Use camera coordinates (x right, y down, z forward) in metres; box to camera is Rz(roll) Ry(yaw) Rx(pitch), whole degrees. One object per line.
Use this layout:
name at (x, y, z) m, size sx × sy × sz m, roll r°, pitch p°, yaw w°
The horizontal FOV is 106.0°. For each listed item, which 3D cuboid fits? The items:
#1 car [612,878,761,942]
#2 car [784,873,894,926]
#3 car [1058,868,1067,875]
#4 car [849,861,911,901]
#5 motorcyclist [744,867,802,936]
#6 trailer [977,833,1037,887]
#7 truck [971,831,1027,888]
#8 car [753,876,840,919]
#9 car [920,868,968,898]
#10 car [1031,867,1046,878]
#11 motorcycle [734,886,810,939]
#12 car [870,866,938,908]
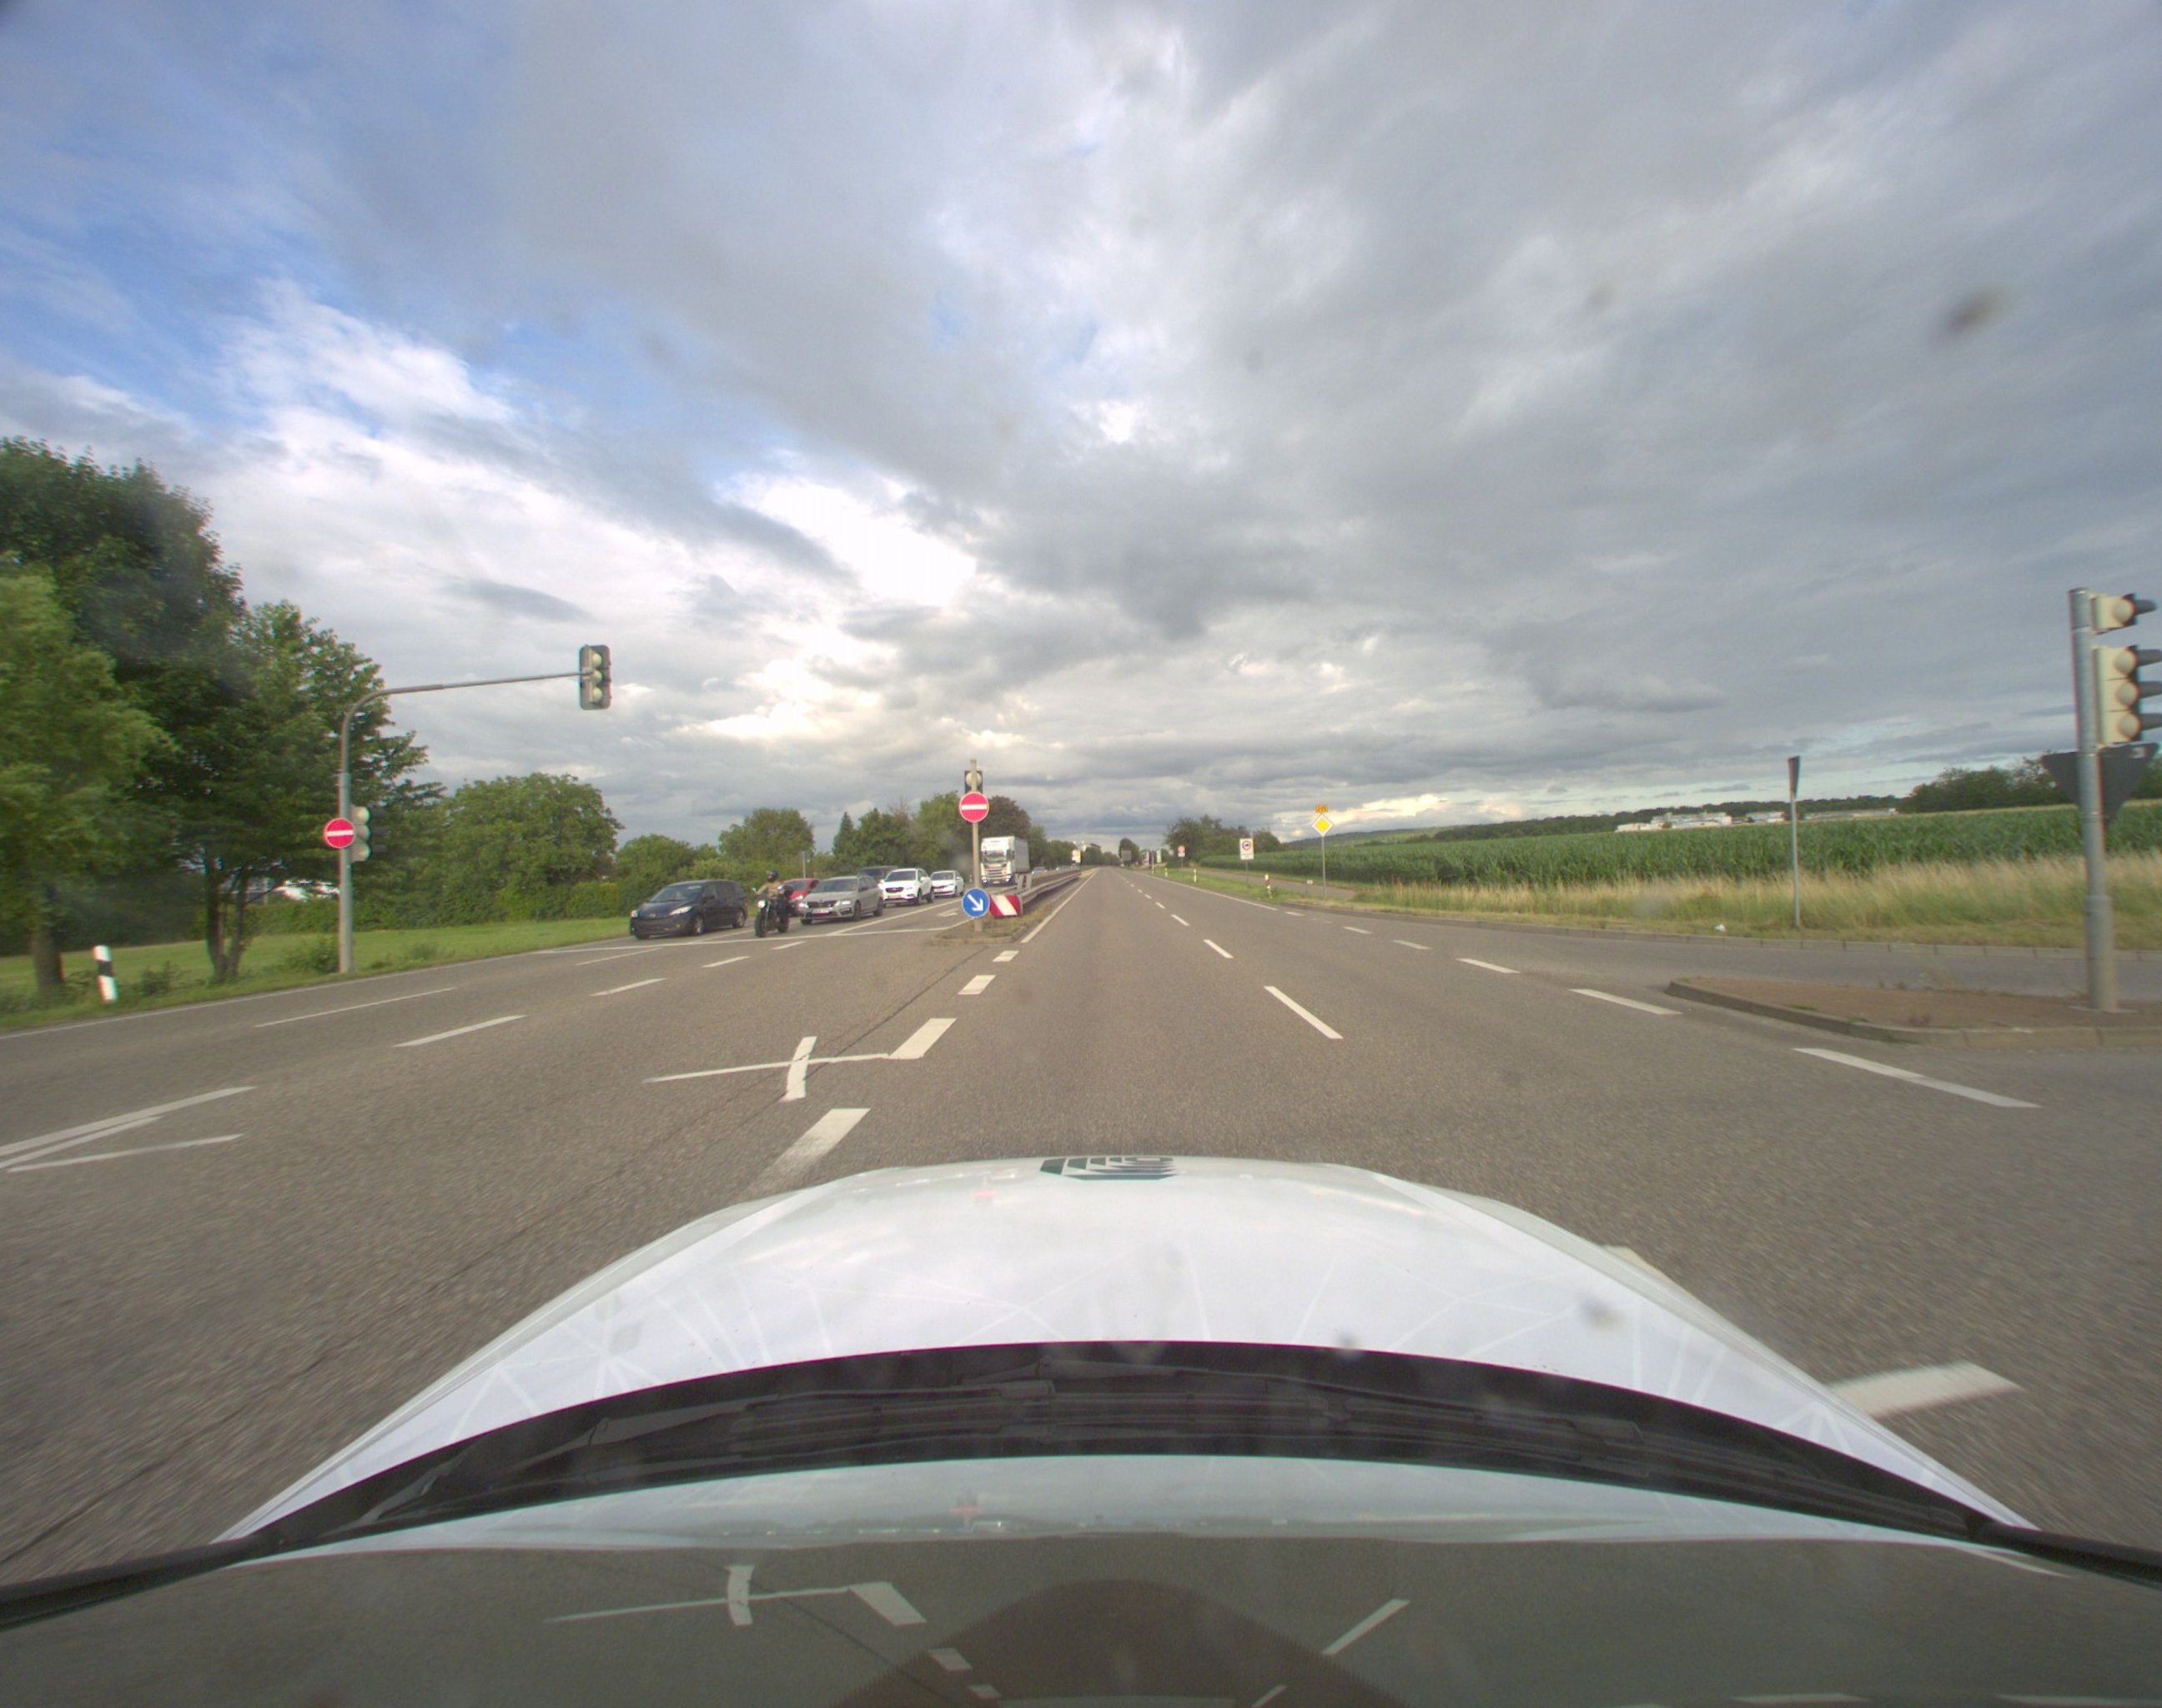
car at (-11.604, 1.574, 24.436) m, size 1.901 × 1.535 × 4.940 m, roll -3°, pitch -1°, yaw 1°
car at (-7.829, 1.415, 26.930) m, size 1.900 × 1.428 × 5.153 m, roll -3°, pitch -1°, yaw 1°
car at (-4.103, 3.879, 182.620) m, size 1.860 × 1.477 × 4.826 m, roll -3°, pitch -1°, yaw 1°
car at (-11.201, 1.481, 45.780) m, size 1.986 × 2.014 × 4.949 m, roll -3°, pitch -1°, yaw 2°
motorcyclist at (-8.058, 1.224, 21.380) m, size 0.913 × 1.709 × 1.276 m, roll -3°, pitch -1°, yaw 2°
trailer at (-6.348, 0.554, 72.520) m, size 3.452 × 4.150 × 13.920 m, roll -4°, pitch -1°, yaw 2°
truck at (-6.538, 0.449, 65.884) m, size 3.462 × 4.150 × 6.051 m, roll -4°, pitch -1°, yaw 1°
car at (-11.331, 1.704, 32.750) m, size 1.901 × 1.465 × 4.185 m, roll -3°, pitch -1°, yaw 1°
car at (-7.416, 1.547, 44.469) m, size 1.782 × 1.444 × 4.161 m, roll -3°, pitch -1°, yaw 1°
car at (-5.944, 2.548, 114.126) m, size 1.782 × 1.386 × 4.161 m, roll -3°, pitch -1°, yaw 1°
motorcycle at (-8.052, 1.504, 21.376) m, size 0.913 × 1.203 × 2.479 m, roll -3°, pitch -1°, yaw 2°
car at (-7.744, 1.405, 36.105) m, size 1.901 × 1.610 × 4.406 m, roll -3°, pitch -1°, yaw 1°
